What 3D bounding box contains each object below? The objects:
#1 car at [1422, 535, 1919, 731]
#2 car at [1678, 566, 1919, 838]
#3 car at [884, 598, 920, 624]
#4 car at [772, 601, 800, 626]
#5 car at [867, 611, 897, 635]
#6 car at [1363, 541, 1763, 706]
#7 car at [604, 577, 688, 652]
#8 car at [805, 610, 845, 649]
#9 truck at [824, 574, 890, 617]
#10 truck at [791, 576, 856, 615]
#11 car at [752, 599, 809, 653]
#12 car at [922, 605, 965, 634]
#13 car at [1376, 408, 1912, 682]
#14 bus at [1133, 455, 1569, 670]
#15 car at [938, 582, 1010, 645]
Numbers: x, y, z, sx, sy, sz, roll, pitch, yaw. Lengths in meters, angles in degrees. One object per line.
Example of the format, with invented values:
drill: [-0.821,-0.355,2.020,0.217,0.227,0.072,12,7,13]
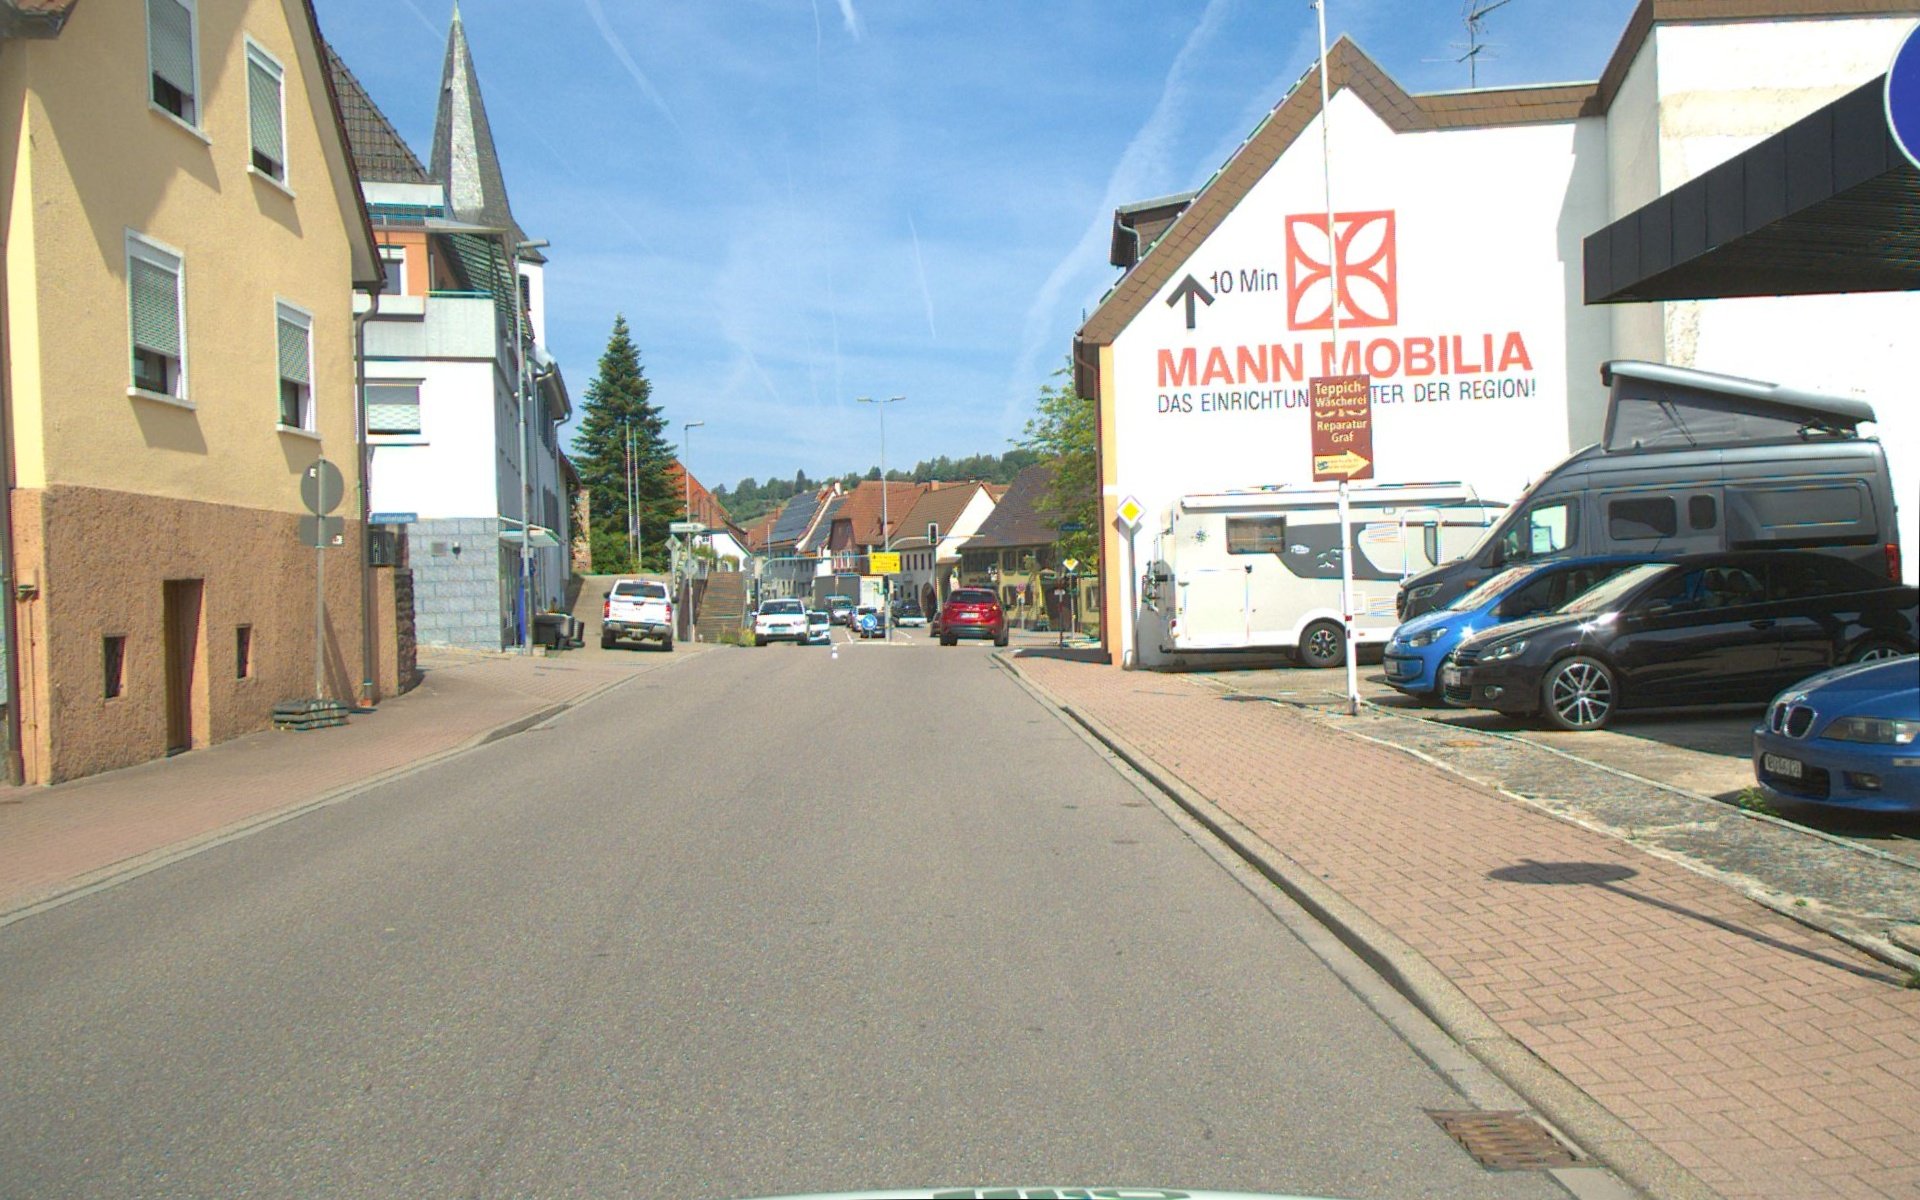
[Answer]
car: [6.378,0.261,14.662,4.074,1.507,1.728,-2,1,2]
car: [6.541,0.428,8.954,4.444,1.289,1.966,-2,1,2]
car: [-4.605,0.855,130.989,1.818,2.049,3.979,1,0,-19]
car: [-16.425,1.222,155.981,1.731,2.285,4.528,1,0,-18]
car: [-5.192,1.529,110.644,1.783,1.459,4.248,-1,0,0]
car: [6.437,0.229,17.880,3.724,1.555,1.581,-2,1,-3]
car: [-8.330,0.352,44.215,1.770,1.829,5.278,2,0,-7]
car: [-7.385,1.566,90.587,1.929,1.966,5.311,-2,0,-3]
truck: [-9.151,-0.390,145.825,3.178,3.611,9.169,1,0,-22]
truck: [-12.870,-0.377,155.087,3.115,3.521,10.640,1,-1,-22]
car: [-5.770,0.797,53.047,1.696,1.569,3.807,-2,1,-7]
car: [-1.115,1.297,110.644,1.791,1.769,3.987,-2,1,-16]
car: [8.377,-0.606,20.834,5.835,3.039,2.319,-2,1,19]
bus: [6.176,-0.579,26.787,6.430,2.956,2.230,-3,0,2]
car: [0.457,0.357,48.633,1.766,1.692,3.815,-2,1,5]
